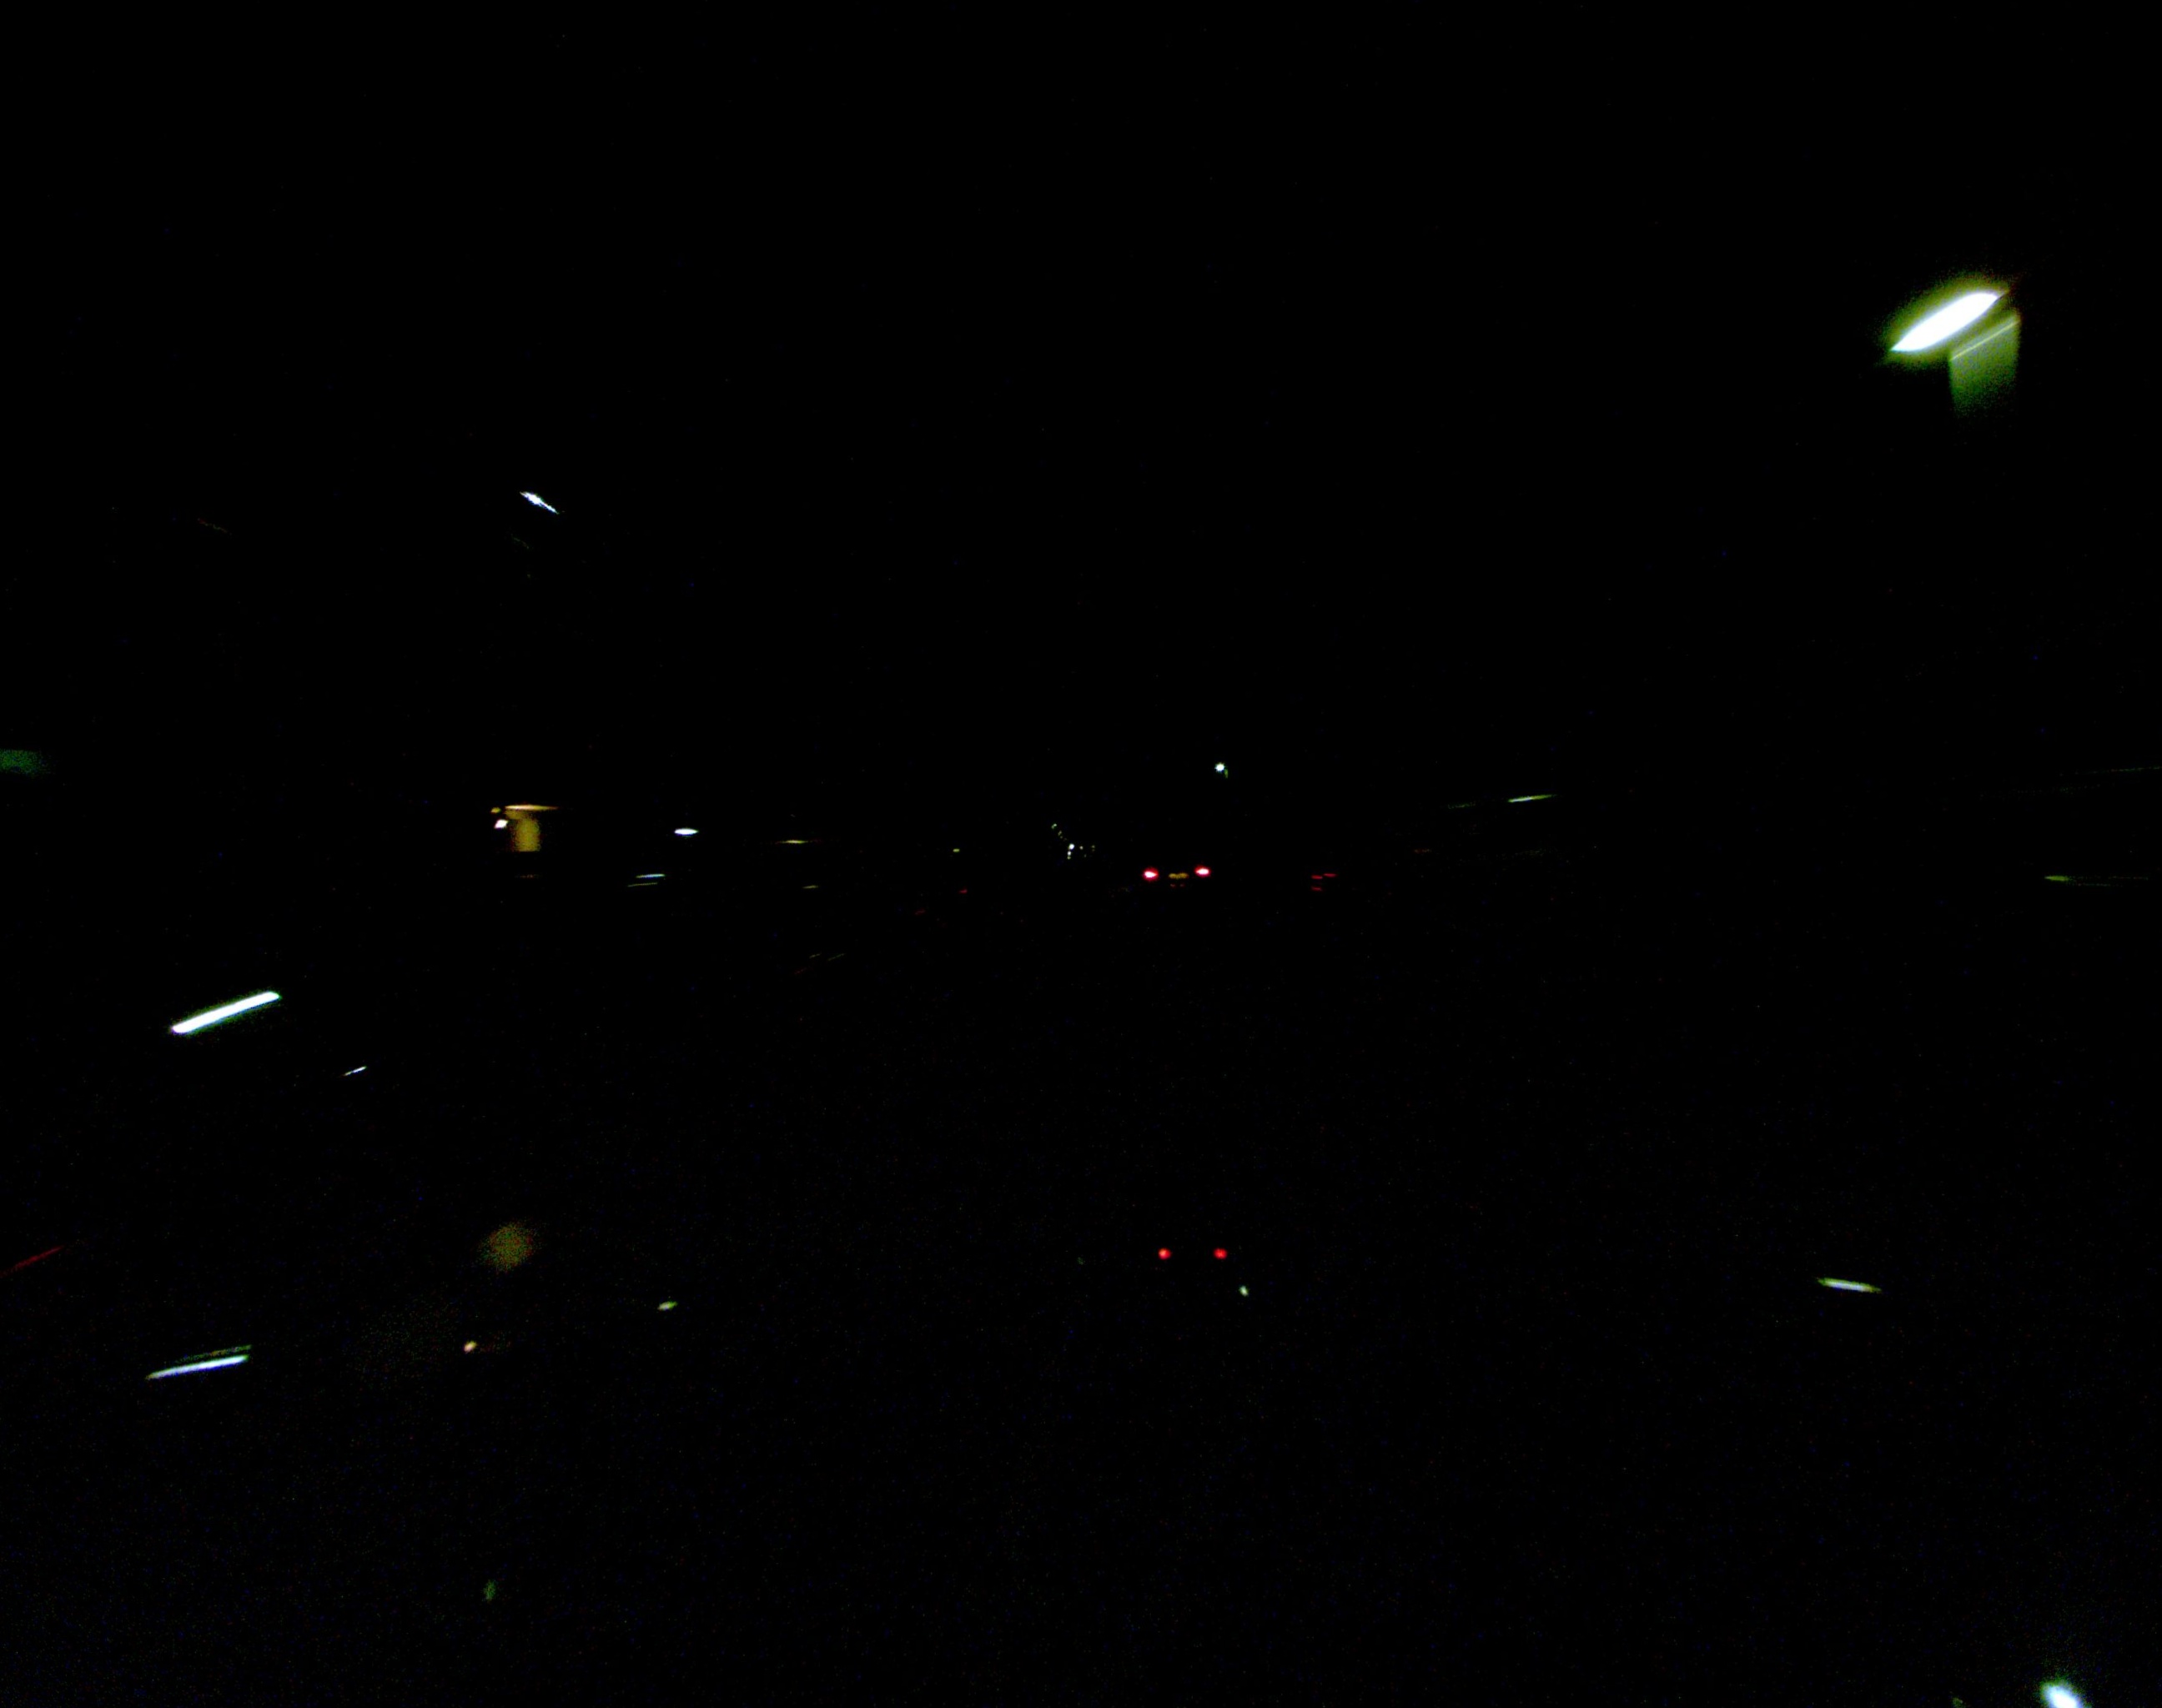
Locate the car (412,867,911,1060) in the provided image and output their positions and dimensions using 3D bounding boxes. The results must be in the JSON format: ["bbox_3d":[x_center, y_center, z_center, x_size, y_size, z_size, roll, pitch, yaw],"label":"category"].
[{"bbox_3d":[-3.989,1.007,7.739,3.924,1.542,1.988,-3,0,4],"label":"car"}]

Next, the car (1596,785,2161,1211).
[{"bbox_3d":[5.258,0.510,3.975,2.121,1.661,4.168,-4,0,-2],"label":"car"}]

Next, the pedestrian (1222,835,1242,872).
[{"bbox_3d":[8.113,-0.032,40.838,0.747,1.893,0.829,-5,1,0],"label":"pedestrian"}]

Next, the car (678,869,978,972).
[{"bbox_3d":[-4.151,1.075,13.007,4.409,1.411,1.935,-3,0,1],"label":"car"}]

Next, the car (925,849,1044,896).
[{"bbox_3d":[-4.371,0.820,35.067,5.156,1.834,2.259,-3,0,-1],"label":"car"}]

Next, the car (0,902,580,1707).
[{"bbox_3d":[-4.027,1.051,2.120,3.926,1.505,1.854,-3,1,-1],"label":"car"}]

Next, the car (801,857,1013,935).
[{"bbox_3d":[-4.194,0.996,18.926,4.665,1.548,2.107,-3,0,3],"label":"car"}]

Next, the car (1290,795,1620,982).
[{"bbox_3d":[4.885,0.381,10.986,2.121,1.935,4.887,-4,0,-2],"label":"car"}]

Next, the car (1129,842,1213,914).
[{"bbox_3d":[2.385,0.591,20.958,1.724,1.705,3.960,-3,0,-1],"label":"car"}]

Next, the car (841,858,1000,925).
[{"bbox_3d":[-4.465,1.026,21.604,3.997,1.548,2.000,-3,0,1],"label":"car"}]

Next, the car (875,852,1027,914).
[{"bbox_3d":[-4.098,0.906,24.371,4.284,1.688,2.001,-3,0,8],"label":"car"}]

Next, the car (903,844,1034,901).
[{"bbox_3d":[-4.681,0.749,32.254,5.156,2.084,2.259,-3,1,-1],"label":"car"}]
